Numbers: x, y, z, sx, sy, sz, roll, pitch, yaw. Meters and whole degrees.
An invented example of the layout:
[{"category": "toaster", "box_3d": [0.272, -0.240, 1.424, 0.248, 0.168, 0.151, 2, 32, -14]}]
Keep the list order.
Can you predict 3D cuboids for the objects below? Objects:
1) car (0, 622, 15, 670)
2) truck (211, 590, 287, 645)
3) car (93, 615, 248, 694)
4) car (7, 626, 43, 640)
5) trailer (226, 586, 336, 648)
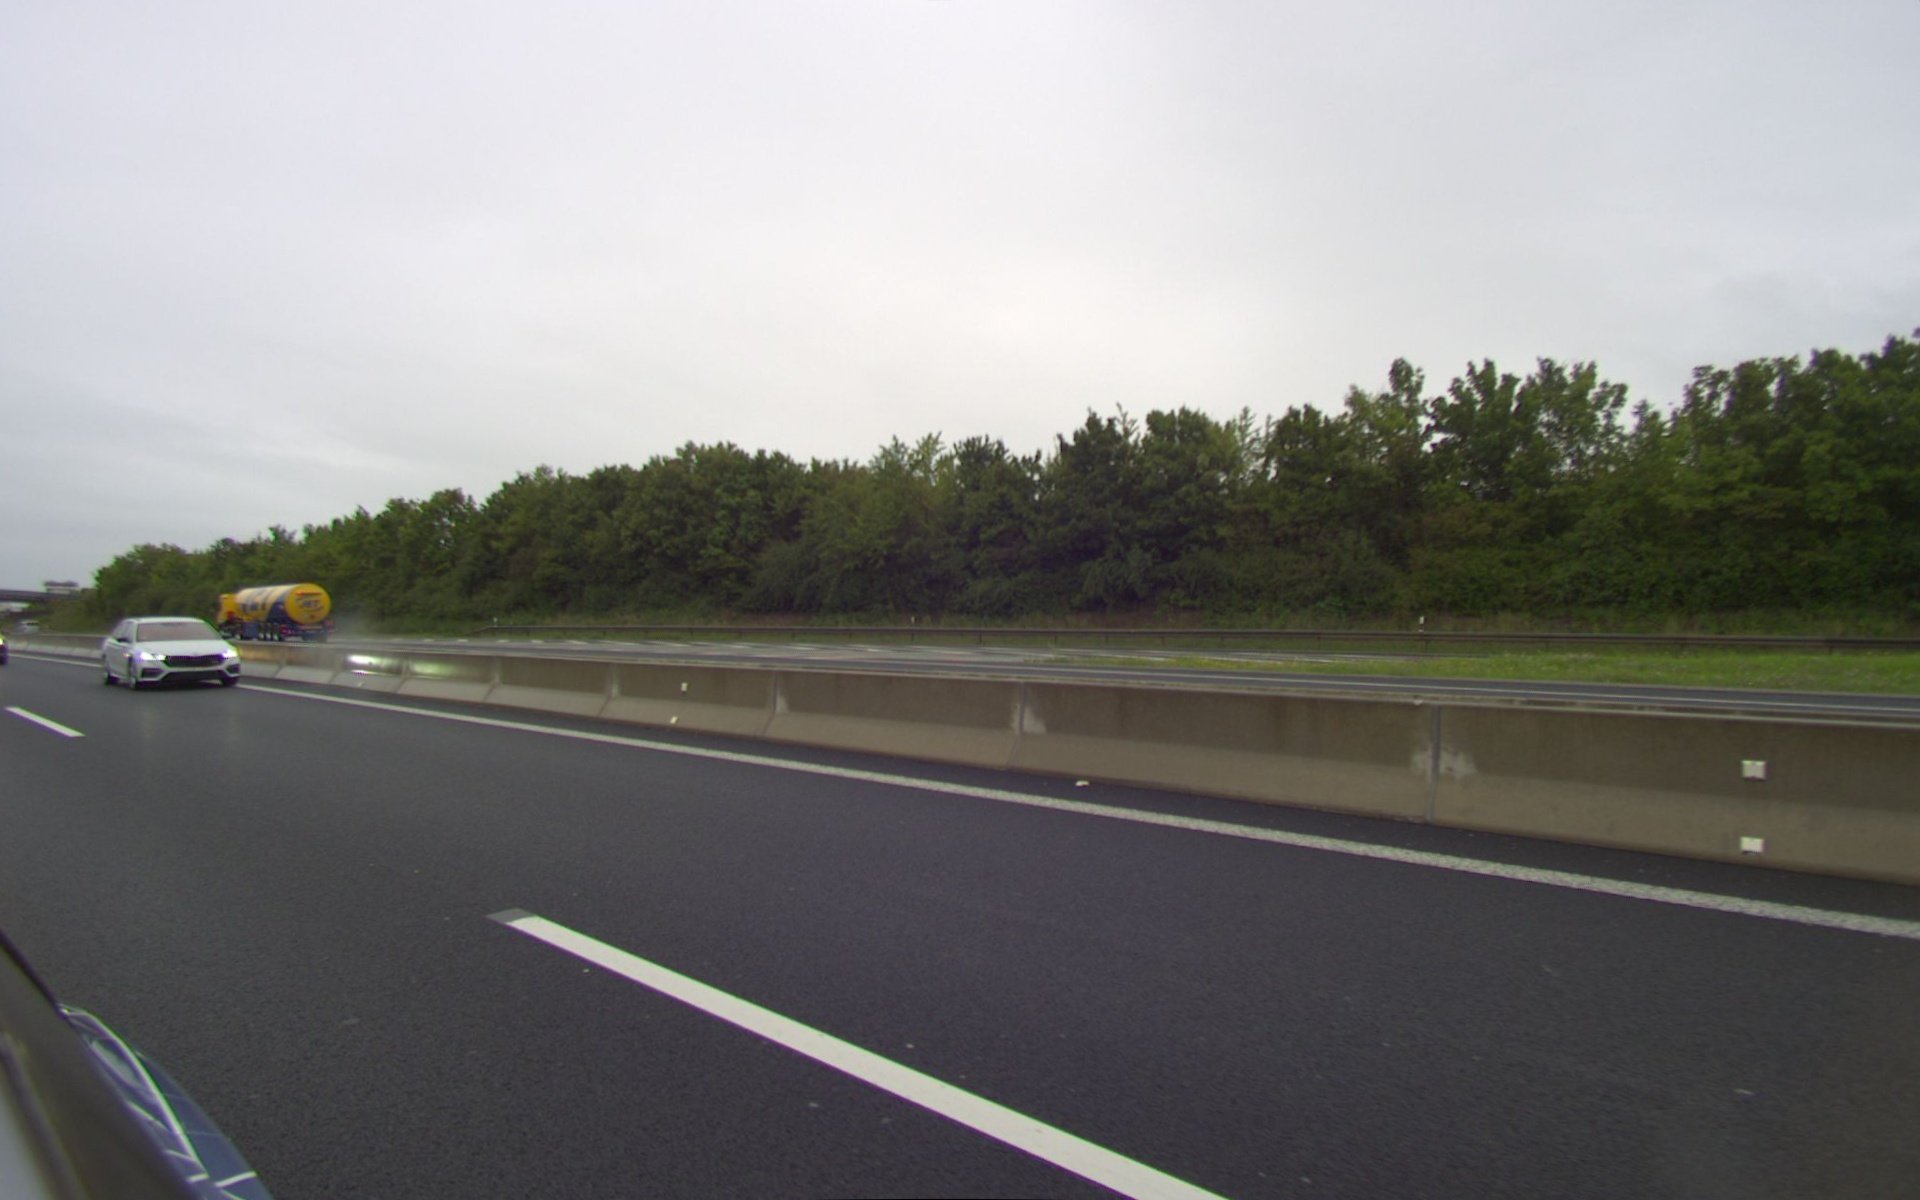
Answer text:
[{"category": "car", "box_3d": [-32.012, 1.474, 32.608, 4.112, 1.518, 1.880, -2, -2, 41]}, {"category": "truck", "box_3d": [-45.967, 1.095, 65.388, 5.844, 3.424, 2.732, -1, 0, 42]}, {"category": "car", "box_3d": [-16.874, 1.098, 21.561, 4.112, 1.518, 1.880, -2, -2, 41]}, {"category": "car", "box_3d": [-116.244, 4.066, 125.828, 4.553, 1.708, 2.163, -1, -1, 32]}, {"category": "trailer", "box_3d": [-41.046, 1.004, 60.970, 11.443, 3.424, 2.732, -1, 0, 42]}]
